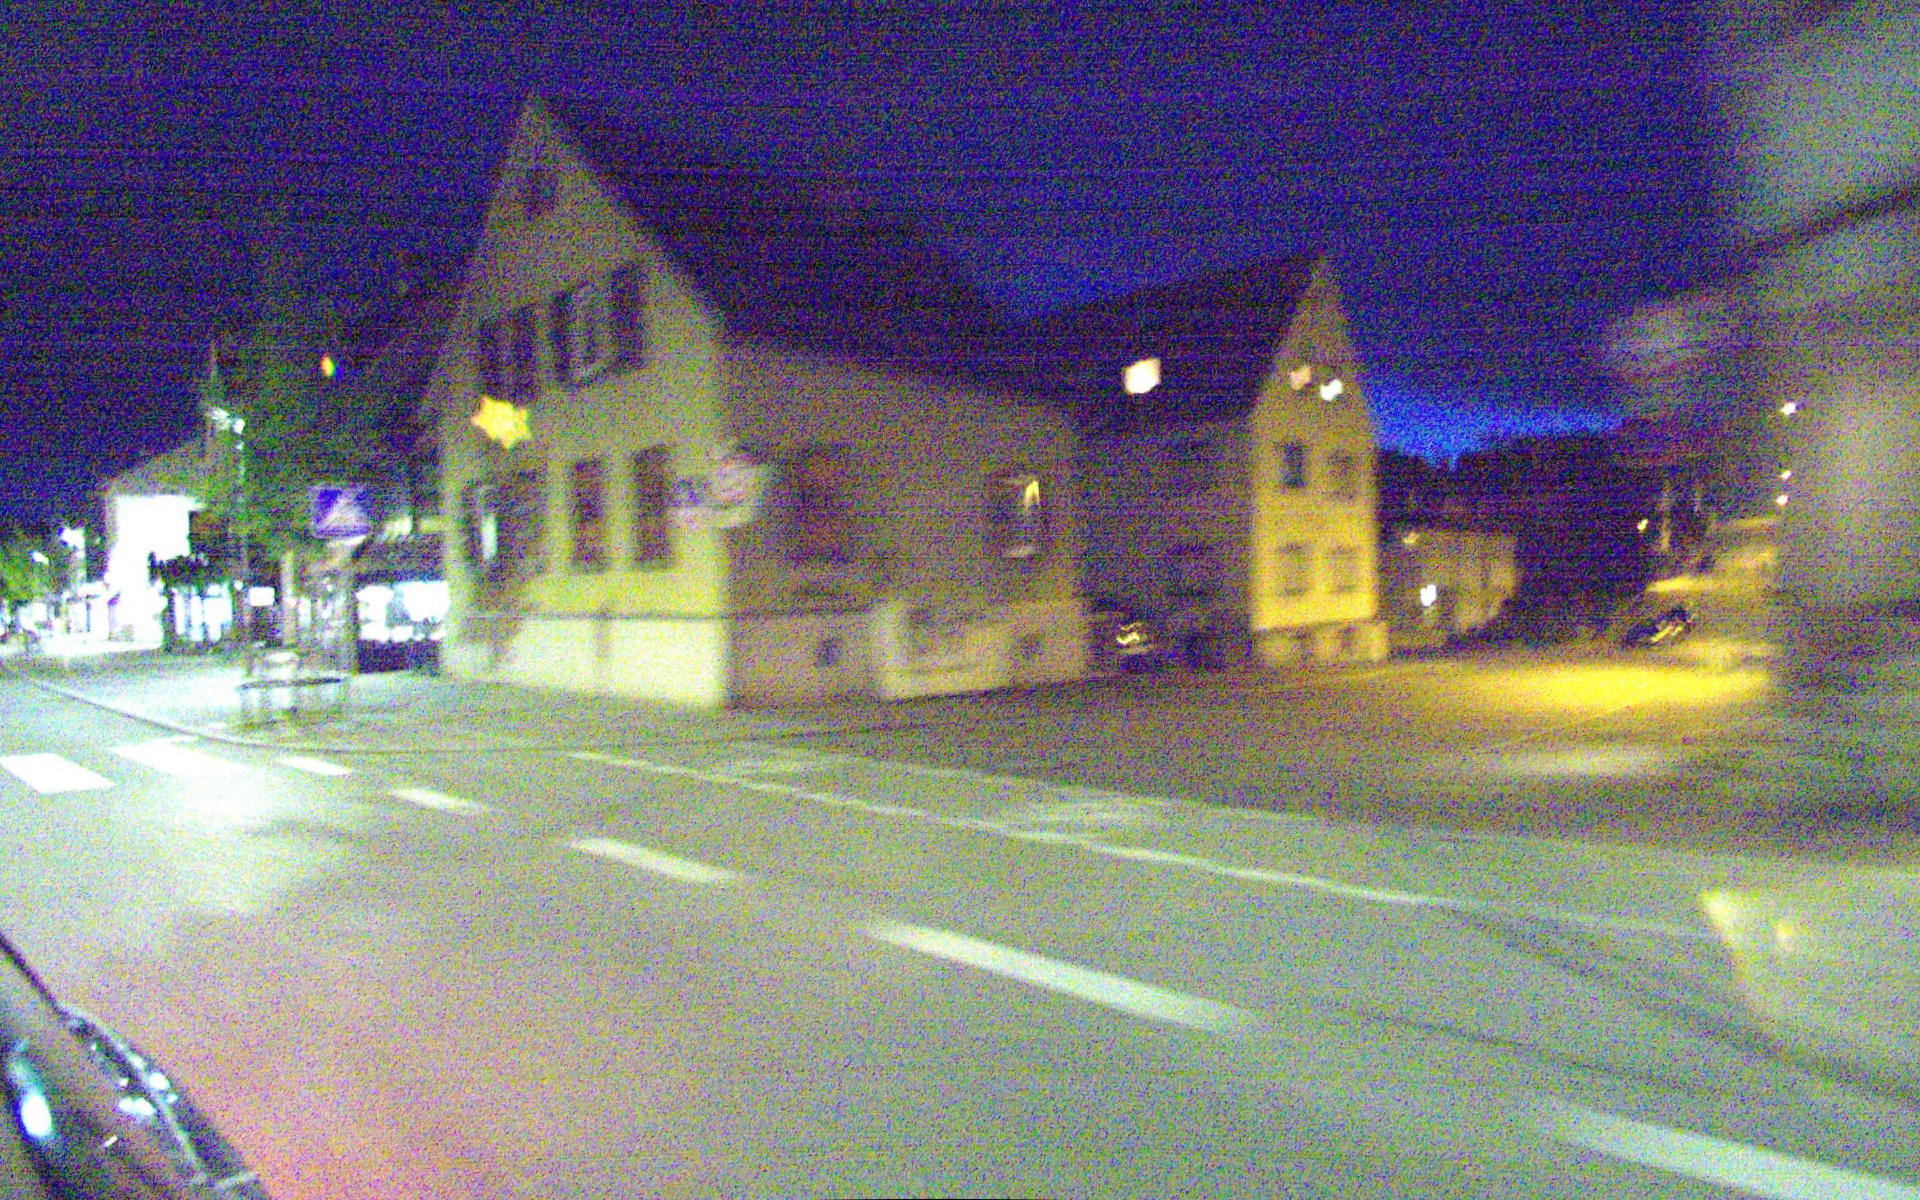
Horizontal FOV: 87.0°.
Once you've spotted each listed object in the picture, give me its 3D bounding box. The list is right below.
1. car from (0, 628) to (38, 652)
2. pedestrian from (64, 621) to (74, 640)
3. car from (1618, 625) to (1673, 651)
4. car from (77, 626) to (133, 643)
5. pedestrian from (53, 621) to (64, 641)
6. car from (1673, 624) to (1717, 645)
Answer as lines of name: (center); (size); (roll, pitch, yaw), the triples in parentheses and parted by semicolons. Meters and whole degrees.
car: (-64.068, 2.683, 68.652); (4.932, 1.430, 1.875); (-2, 1, 44)
pedestrian: (-74.900, 2.545, 85.069); (0.664, 1.600, 0.523); (-2, -1, 34)
car: (37.555, 2.047, 55.413); (1.999, 1.364, 4.167); (-1, -2, 41)
car: (-76.969, 3.109, 91.122); (1.653, 1.427, 3.780); (-2, -2, 45)
pedestrian: (-75.449, 2.581, 84.697); (0.665, 1.600, 0.523); (-2, -1, 37)
car: (48.727, 2.270, 67.053); (1.999, 1.364, 4.663); (-1, -2, 41)
